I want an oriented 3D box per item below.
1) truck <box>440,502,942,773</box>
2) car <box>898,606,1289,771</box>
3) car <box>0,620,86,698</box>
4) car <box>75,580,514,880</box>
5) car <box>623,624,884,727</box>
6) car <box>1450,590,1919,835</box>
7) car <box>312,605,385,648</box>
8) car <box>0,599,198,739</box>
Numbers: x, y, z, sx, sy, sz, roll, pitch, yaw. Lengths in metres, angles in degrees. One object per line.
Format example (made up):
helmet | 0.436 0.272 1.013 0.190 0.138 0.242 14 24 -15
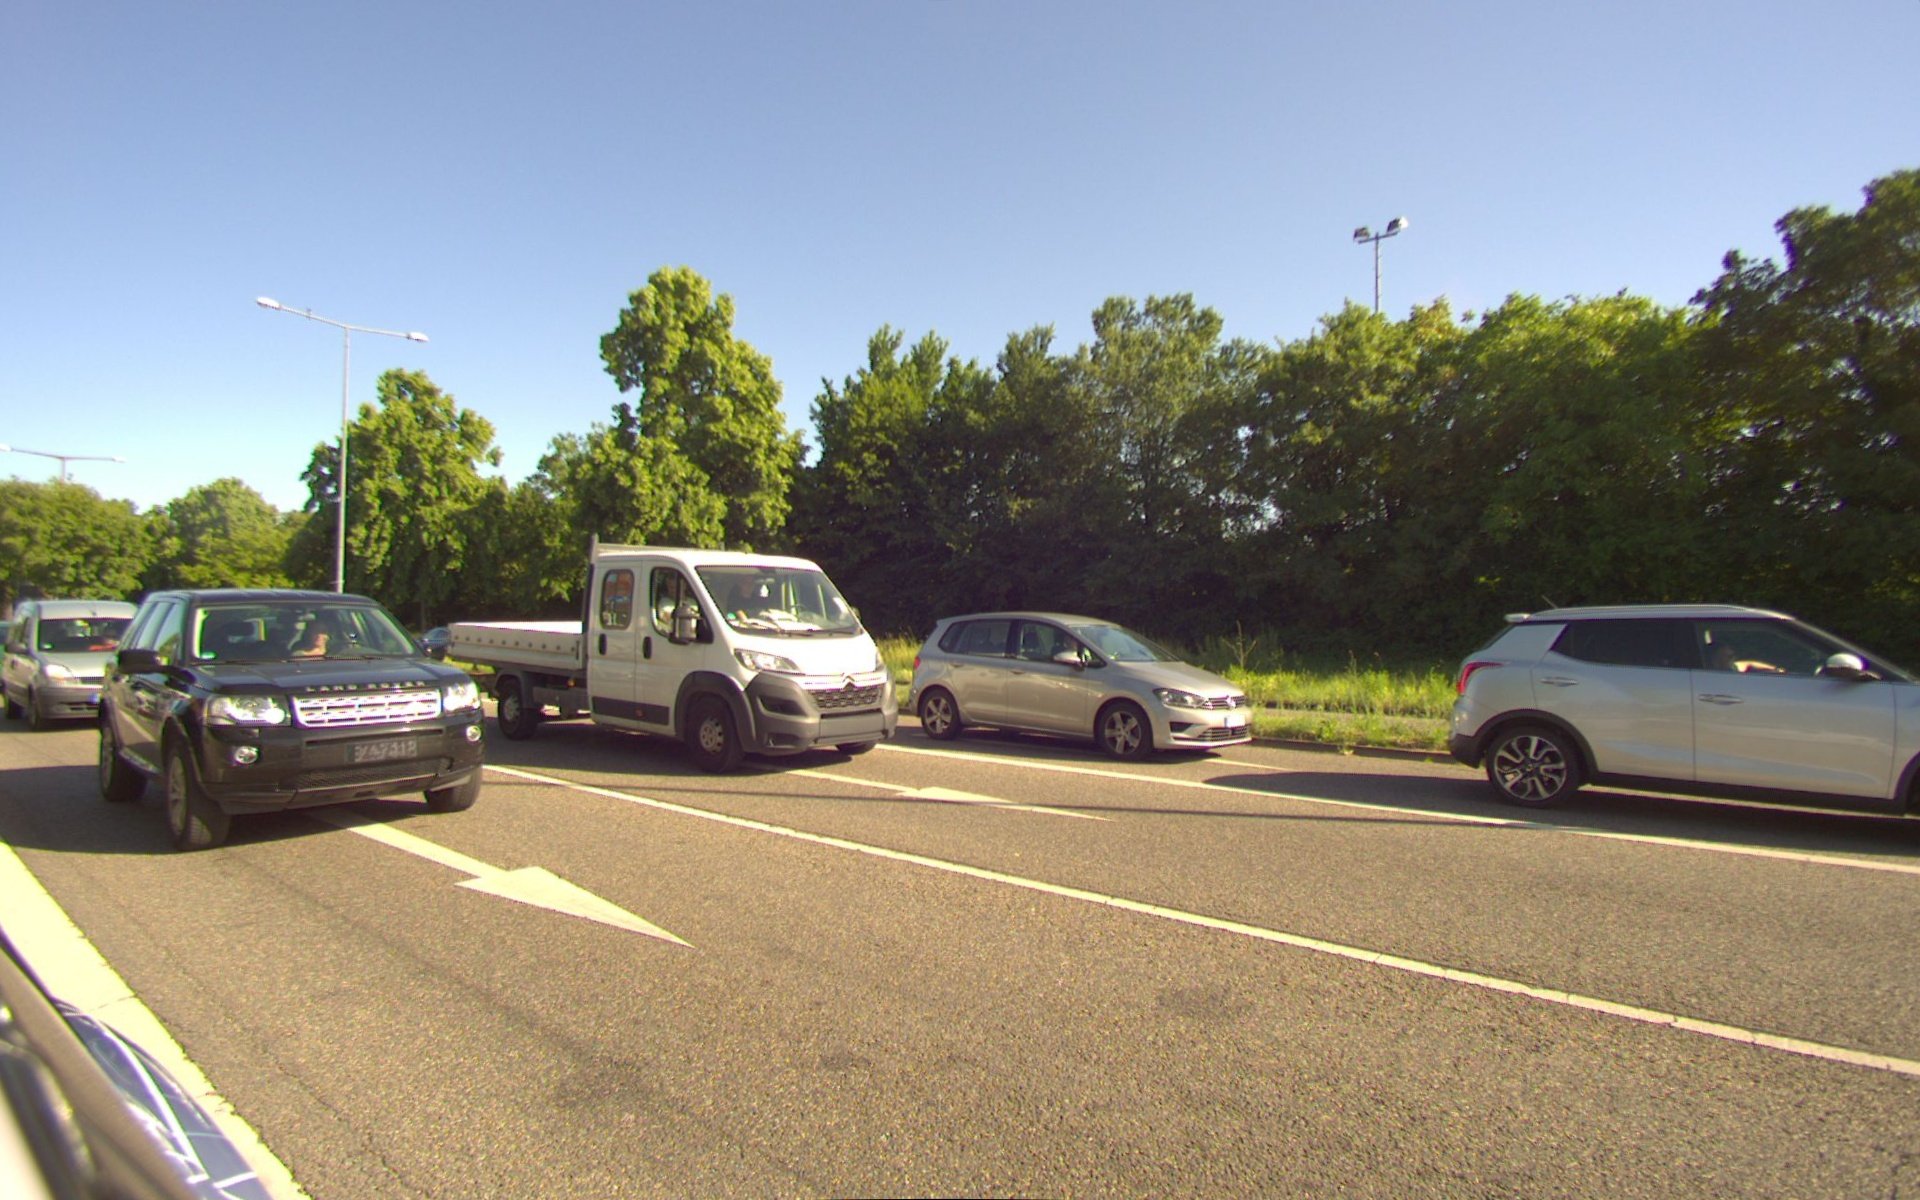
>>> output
truck | -3.451 0.410 11.733 6.770 2.327 2.162 -1 -3 41
car | 1.435 0.910 11.870 4.241 1.587 1.854 -1 -3 41
car | -19.980 1.186 21.338 4.364 1.497 1.894 -1 0 43
car | -5.366 0.781 7.904 4.391 1.697 1.802 -1 -2 42
car | -3.391 1.109 16.172 4.353 1.415 1.811 -1 -3 41
car | 6.171 0.761 7.570 4.193 1.549 1.811 -1 -3 41
car | -31.146 1.330 51.482 4.538 2.100 1.892 -1 0 41
car | -12.848 0.897 14.882 4.364 1.741 1.894 -1 0 43
